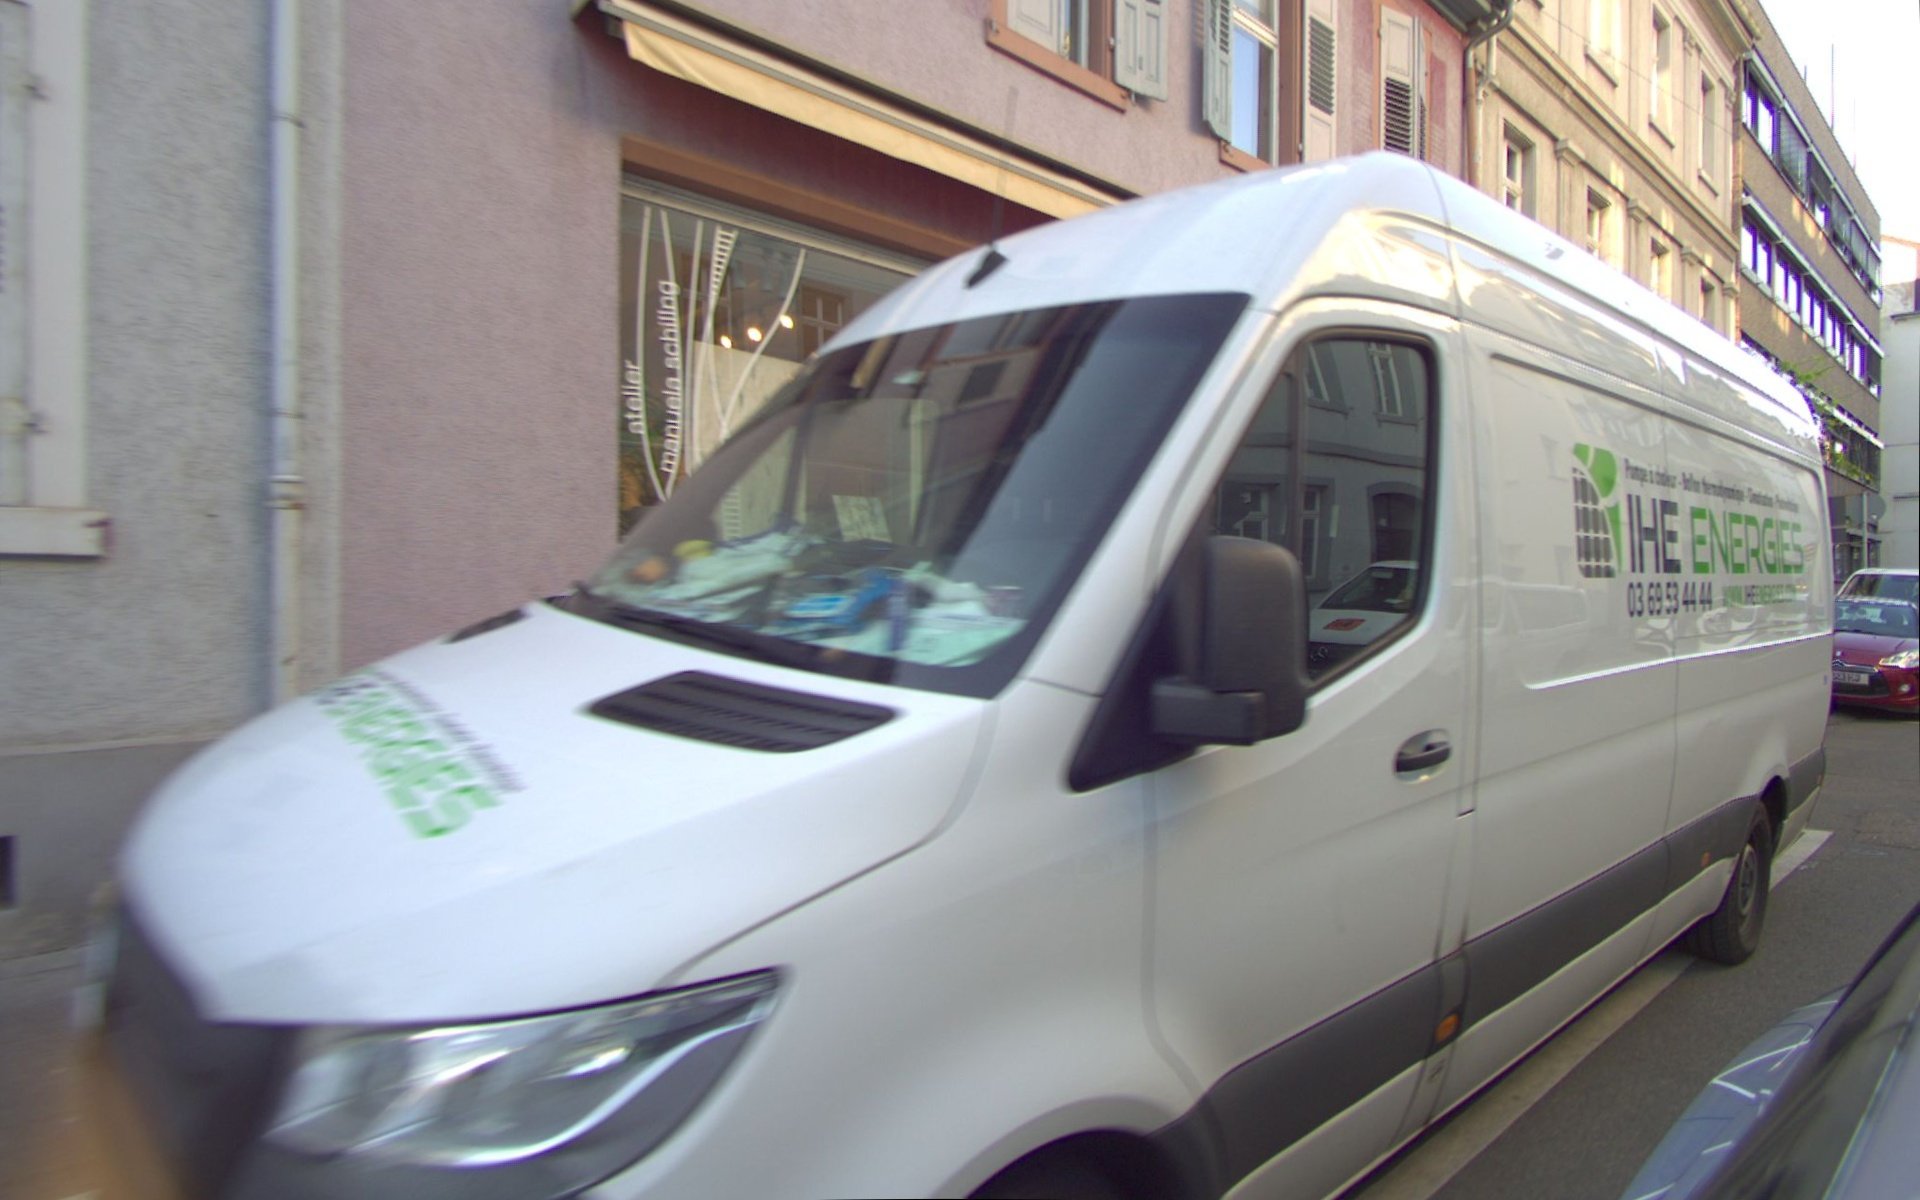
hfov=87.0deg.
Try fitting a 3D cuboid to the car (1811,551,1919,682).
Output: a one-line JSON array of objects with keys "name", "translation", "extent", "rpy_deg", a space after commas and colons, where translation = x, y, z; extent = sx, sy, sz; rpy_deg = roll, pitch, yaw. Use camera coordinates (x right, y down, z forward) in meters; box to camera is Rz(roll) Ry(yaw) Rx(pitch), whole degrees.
[{"name": "car", "translation": [16.017, 0.223, 16.605], "extent": [5.177, 1.921, 1.942], "rpy_deg": [0, 1, -36]}]

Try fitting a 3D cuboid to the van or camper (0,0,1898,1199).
[{"name": "van or camper", "translation": [1.387, 0.145, 3.623], "extent": [6.937, 2.670, 2.054], "rpy_deg": [-1, 1, -40]}]

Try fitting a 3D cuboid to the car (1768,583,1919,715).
[{"name": "car", "translation": [12.106, 0.542, 13.439], "extent": [3.691, 1.524, 1.656], "rpy_deg": [-1, 1, -43]}]
